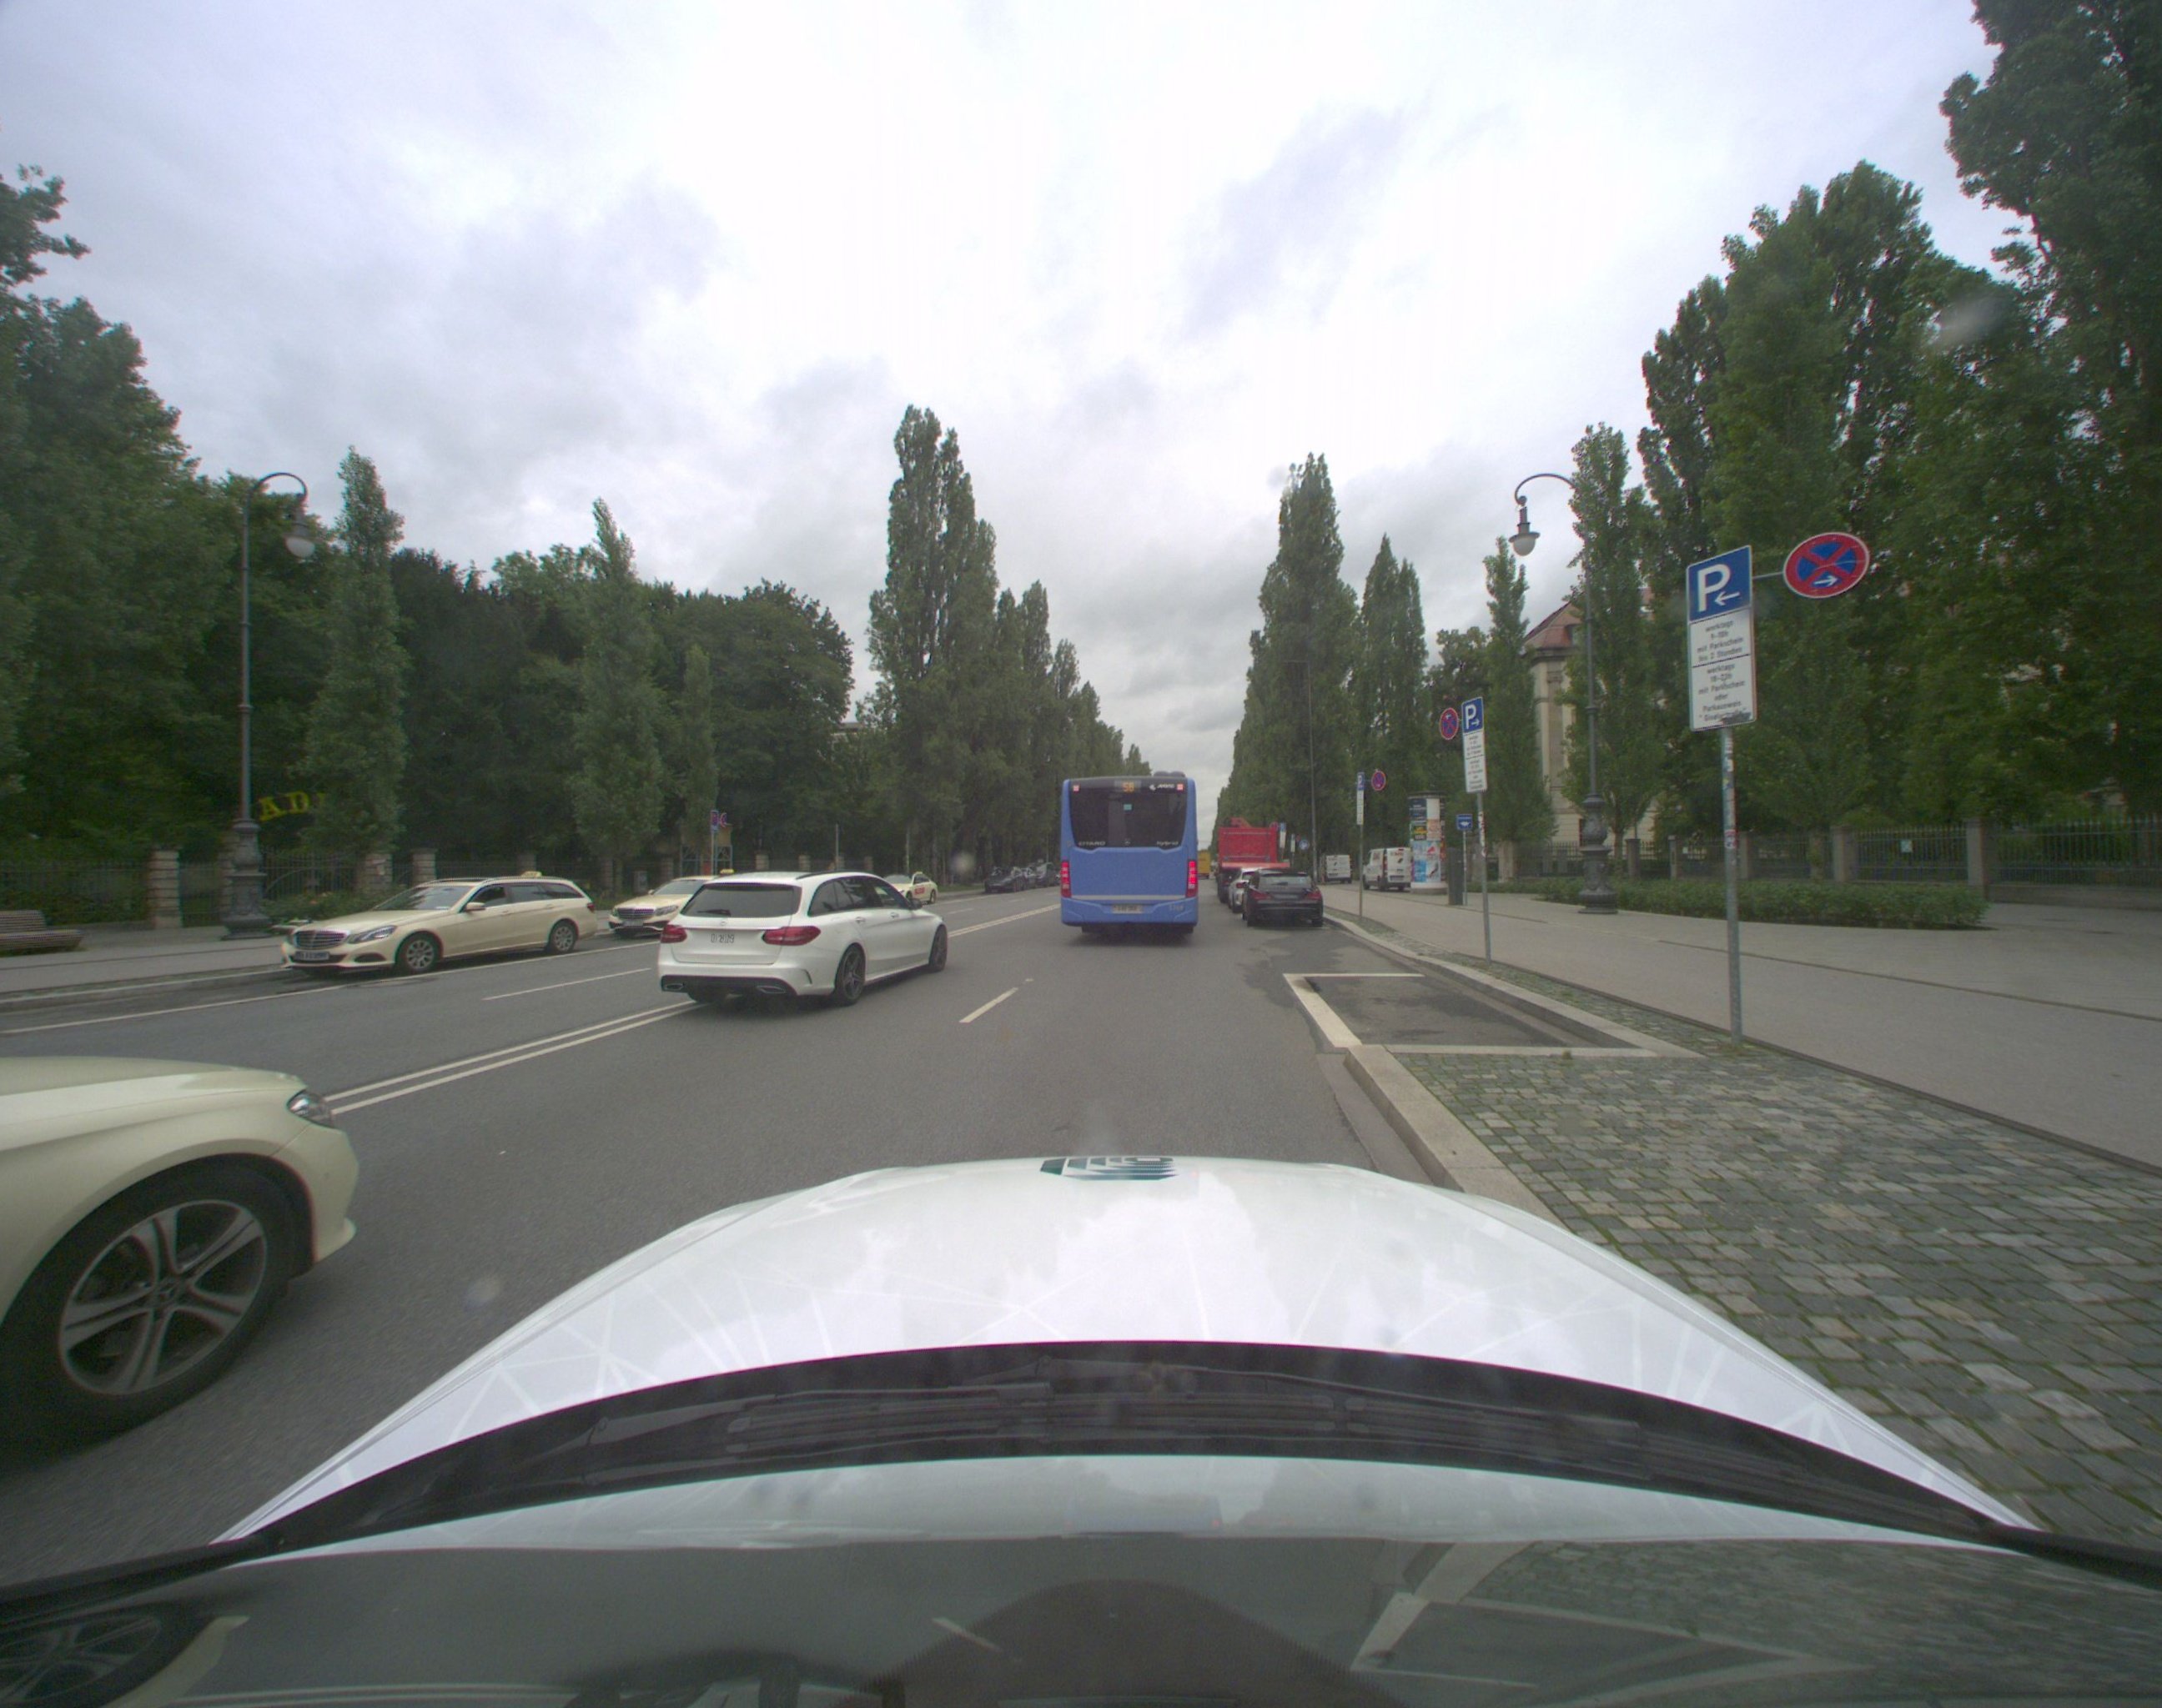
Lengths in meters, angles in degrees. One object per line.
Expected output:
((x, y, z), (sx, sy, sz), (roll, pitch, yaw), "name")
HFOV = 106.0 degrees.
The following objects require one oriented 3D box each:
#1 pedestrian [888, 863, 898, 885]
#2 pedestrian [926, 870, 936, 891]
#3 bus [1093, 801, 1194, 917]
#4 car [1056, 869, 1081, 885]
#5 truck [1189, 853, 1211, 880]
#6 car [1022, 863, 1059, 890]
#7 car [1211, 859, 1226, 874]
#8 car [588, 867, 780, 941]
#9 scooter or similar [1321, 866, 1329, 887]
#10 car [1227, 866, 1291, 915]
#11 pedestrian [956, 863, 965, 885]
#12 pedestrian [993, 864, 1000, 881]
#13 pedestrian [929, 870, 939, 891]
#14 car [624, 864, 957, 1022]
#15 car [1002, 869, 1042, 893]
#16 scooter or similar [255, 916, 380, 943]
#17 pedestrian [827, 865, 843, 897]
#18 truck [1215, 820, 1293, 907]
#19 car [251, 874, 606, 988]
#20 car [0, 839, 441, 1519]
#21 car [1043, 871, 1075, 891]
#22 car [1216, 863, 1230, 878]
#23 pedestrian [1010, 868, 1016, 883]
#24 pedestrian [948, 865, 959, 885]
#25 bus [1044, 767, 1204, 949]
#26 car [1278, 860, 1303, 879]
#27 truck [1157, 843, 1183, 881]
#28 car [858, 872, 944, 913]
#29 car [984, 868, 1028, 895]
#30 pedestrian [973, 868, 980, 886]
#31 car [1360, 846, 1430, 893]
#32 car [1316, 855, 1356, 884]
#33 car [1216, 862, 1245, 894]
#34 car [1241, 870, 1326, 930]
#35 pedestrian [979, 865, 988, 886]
((-16.905, 1.787, 73.181), (0.693, 2.014, 0.562), (0, -1, 8), "pedestrian")
((-11.989, 2.125, 65.110), (0.614, 1.660, 0.706), (-1, -1, 9), "pedestrian")
((2.378, 0.225, 28.249), (2.856, 3.304, 9.807), (-1, -1, 7), "bus")
((-1.200, 2.186, 78.446), (1.666, 1.422, 4.247), (-3, -2, 8), "car")
((13.328, 1.440, 91.100), (2.314, 2.898, 7.349), (-1, -1, 8), "truck")
((-3.189, 1.759, 65.026), (1.982, 1.956, 4.948), (-3, -1, 8), "car")
((19.614, 1.814, 116.032), (2.040, 2.014, 5.706), (-1, -1, 9), "car")
((-9.977, 1.212, 21.003), (1.926, 1.624, 4.976), (-2, -2, 9), "car")
((15.000, 1.365, 50.045), (0.334, 1.266, 1.189), (-1, -1, 9), "scooter or similar")
((5.754, 1.140, 26.737), (1.777, 1.460, 4.227), (0, -1, 8), "car")
((-10.957, 1.821, 74.293), (0.662, 2.014, 0.640), (0, -1, 8), "pedestrian")
((-8.700, 1.897, 83.958), (0.605, 1.757, 0.758), (-1, -1, 7), "pedestrian")
((-12.468, 2.249, 69.113), (0.663, 1.722, 0.735), (-1, -1, 10), "pedestrian")
((-3.098, 0.865, 9.917), (1.815, 1.454, 4.593), (0, -1, 9), "car")
((-4.243, 1.952, 59.254), (1.880, 1.584, 4.665), (-2, -1, 8), "car")
((-20.674, 2.027, 22.150), (2.245, 0.518, 1.319), (-1, -1, -32), "scooter or similar")
((-13.484, 1.486, 44.601), (0.579, 1.720, 0.788), (0, -1, 7), "pedestrian")
((7.195, 0.431, 35.086), (2.697, 3.110, 10.452), (-1, -1, 9), "truck")
((-10.922, 1.184, 14.253), (1.808, 1.559, 4.870), (-3, -2, 8), "car")
((-3.508, 0.716, 0.753), (1.907, 1.575, 4.692), (1, -1, 3), "car")
((-1.873, 2.326, 71.533), (1.805, 1.609, 5.064), (-3, -2, 8), "car")
((18.768, 2.133, 107.776), (1.795, 1.976, 4.247), (-1, -1, 9), "car")
((-7.982, 2.501, 95.797), (0.546, 1.748, 0.674), (0, -1, 8), "pedestrian")
((-11.595, 1.923, 74.004), (0.742, 1.854, 0.759), (-1, -1, 9), "pedestrian")
((1.255, 0.139, 19.066), (2.841, 3.214, 9.075), (0, -1, 6), "bus")
((22.639, 1.667, 88.302), (1.982, 1.925, 5.335), (-1, -1, 8), "car")
((10.157, 0.921, 92.245), (2.702, 3.965, 9.234), (-1, -1, 7), "truck")
((-7.702, 1.616, 35.350), (1.919, 1.497, 4.803), (-2, 0, 10), "car")
((-4.908, 1.808, 53.763), (1.772, 1.596, 4.624), (-3, -1, 8), "car")
((-10.025, 2.227, 78.014), (0.505, 1.707, 0.571), (-1, -1, 9), "pedestrian")
((14.206, 0.689, 37.112), (1.870, 1.945, 4.895), (1, -1, 7), "car")
((17.719, 1.085, 56.830), (1.982, 1.946, 5.096), (-1, -1, 9), "car")
((11.962, 1.892, 65.373), (2.062, 2.479, 6.298), (0, -1, 8), "car")
((5.018, 1.097, 20.670), (1.725, 1.310, 4.381), (-1, -1, 9), "car")
((-9.341, 2.069, 77.989), (0.620, 2.014, 0.597), (-1, -1, 10), "pedestrian")
